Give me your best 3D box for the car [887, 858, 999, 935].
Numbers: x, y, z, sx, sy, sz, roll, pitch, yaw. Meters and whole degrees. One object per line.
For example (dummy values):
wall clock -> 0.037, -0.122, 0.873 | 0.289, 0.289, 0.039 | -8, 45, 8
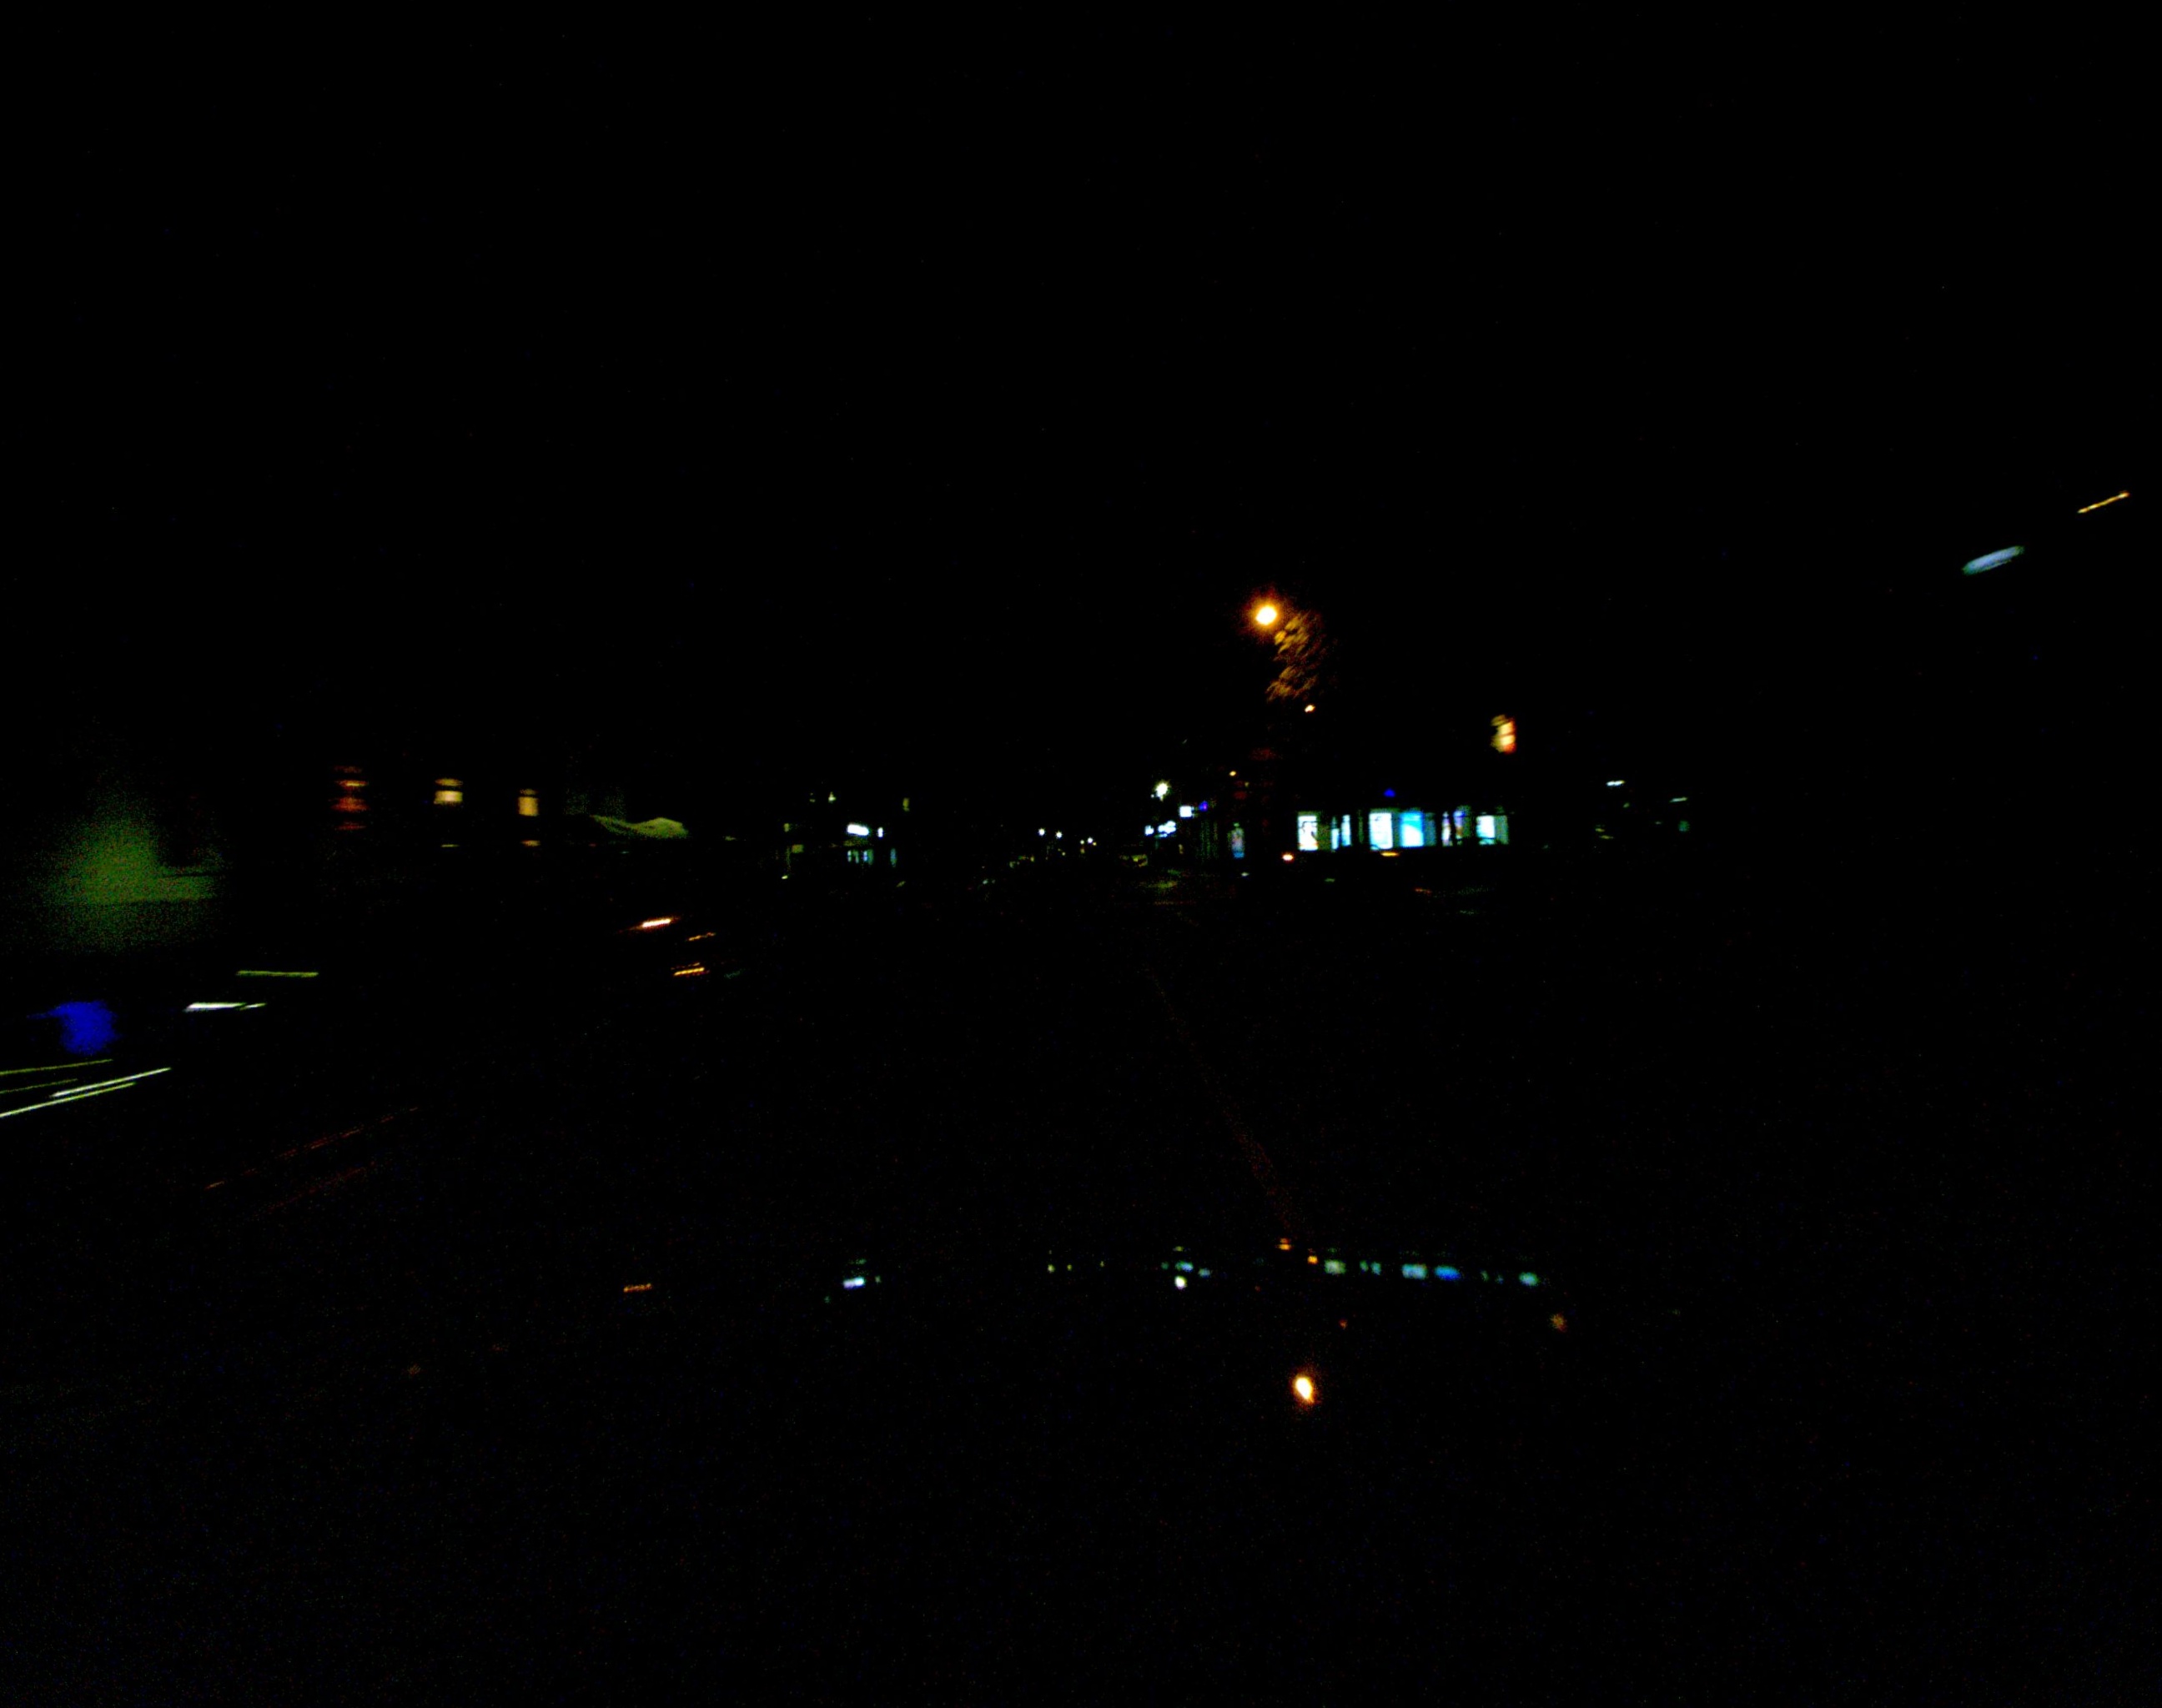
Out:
car -> -3.055, 0.878, 17.661 | 1.774, 1.528, 4.216 | 0, 1, 1

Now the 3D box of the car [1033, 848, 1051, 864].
car -> -4.574, 0.175, 90.280 | 1.912, 1.792, 4.936 | -2, 0, -1

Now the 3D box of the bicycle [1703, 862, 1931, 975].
bicycle -> 7.721, 0.658, 8.012 | 1.855, 1.029, 0.532 | -4, 1, 0

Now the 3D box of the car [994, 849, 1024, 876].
car -> -4.817, 0.529, 51.350 | 1.688, 1.650, 4.296 | -2, 1, -2

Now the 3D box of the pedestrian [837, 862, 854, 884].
pedestrian -> -13.418, 1.089, 43.233 | 0.682, 1.256, 0.530 | -1, 1, 28

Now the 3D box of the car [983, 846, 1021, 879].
car -> -4.668, 0.455, 45.329 | 1.793, 1.811, 4.578 | -2, 1, -1

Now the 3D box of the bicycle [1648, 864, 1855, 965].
bicycle -> 7.633, 0.675, 8.683 | 1.855, 0.994, 0.532 | -4, 1, 0

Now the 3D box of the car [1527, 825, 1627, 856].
car -> 25.326, -0.674, 38.860 | 3.908, 1.387, 1.803 | -2, 1, -1

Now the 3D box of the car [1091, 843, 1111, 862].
car -> 2.147, -0.166, 83.442 | 1.930, 1.954, 5.075 | -3, 1, -1

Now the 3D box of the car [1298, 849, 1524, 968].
car -> 4.848, 0.698, 11.832 | 1.726, 1.420, 3.976 | -4, 1, 0

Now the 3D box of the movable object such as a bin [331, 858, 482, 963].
movable object such as a bin -> -9.525, 0.765, 10.791 | 1.163, 1.363, 0.993 | -3, 1, -1

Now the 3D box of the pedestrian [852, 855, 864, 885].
pedestrian -> -11.888, 0.858, 40.526 | 0.480, 1.578, 0.372 | -1, 1, 36

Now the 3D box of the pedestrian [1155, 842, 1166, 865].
pedestrian -> 6.218, -0.054, 59.393 | 0.720, 1.796, 0.716 | -2, 1, 1

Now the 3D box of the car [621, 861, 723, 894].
car -> -20.514, 1.162, 38.226 | 4.153, 1.540, 1.803 | -1, -1, -1

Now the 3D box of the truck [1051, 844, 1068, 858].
truck -> -3.591, -0.465, 125.964 | 2.109, 2.230, 6.289 | -2, 1, 5

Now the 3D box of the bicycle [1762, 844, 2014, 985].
bicycle -> 7.738, 0.563, 7.326 | 1.855, 1.246, 0.532 | -2, 1, 0

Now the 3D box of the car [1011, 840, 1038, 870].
car -> -4.777, 0.059, 63.832 | 2.140, 2.313, 5.149 | -2, 1, -5

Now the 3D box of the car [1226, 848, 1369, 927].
car -> 4.714, 0.646, 17.342 | 1.811, 1.417, 4.920 | -4, 1, 0

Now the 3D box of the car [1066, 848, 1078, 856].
car -> -1.655, -0.396, 141.417 | 1.737, 1.493, 4.001 | -2, 1, 5

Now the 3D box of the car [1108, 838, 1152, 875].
car -> 3.022, 0.140, 47.916 | 1.858, 2.075, 5.087 | -4, 1, -5

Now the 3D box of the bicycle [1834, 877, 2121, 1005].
bicycle -> 7.592, 0.721, 6.474 | 1.855, 0.962, 0.501 | -2, 1, 0

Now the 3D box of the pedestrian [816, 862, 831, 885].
pedestrian -> -14.304, 1.069, 42.260 | 0.501, 1.256, 0.530 | -1, 1, 28

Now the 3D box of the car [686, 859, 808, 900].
car -> -14.119, 1.054, 32.273 | 4.327, 1.523, 1.802 | -2, 2, -1

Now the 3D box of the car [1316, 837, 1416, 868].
car -> 14.356, -0.078, 38.438 | 4.339, 1.389, 1.803 | -2, 1, -1

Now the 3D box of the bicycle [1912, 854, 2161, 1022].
bicycle -> 7.577, 0.615, 5.810 | 1.855, 1.159, 0.532 | -2, 1, 0

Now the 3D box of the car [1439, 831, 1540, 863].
car -> 20.705, -0.341, 38.589 | 4.146, 1.428, 1.803 | -2, 1, -1

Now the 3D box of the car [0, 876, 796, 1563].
car -> -3.089, 0.970, 3.864 | 1.694, 1.528, 4.015 | -1, 1, 1
